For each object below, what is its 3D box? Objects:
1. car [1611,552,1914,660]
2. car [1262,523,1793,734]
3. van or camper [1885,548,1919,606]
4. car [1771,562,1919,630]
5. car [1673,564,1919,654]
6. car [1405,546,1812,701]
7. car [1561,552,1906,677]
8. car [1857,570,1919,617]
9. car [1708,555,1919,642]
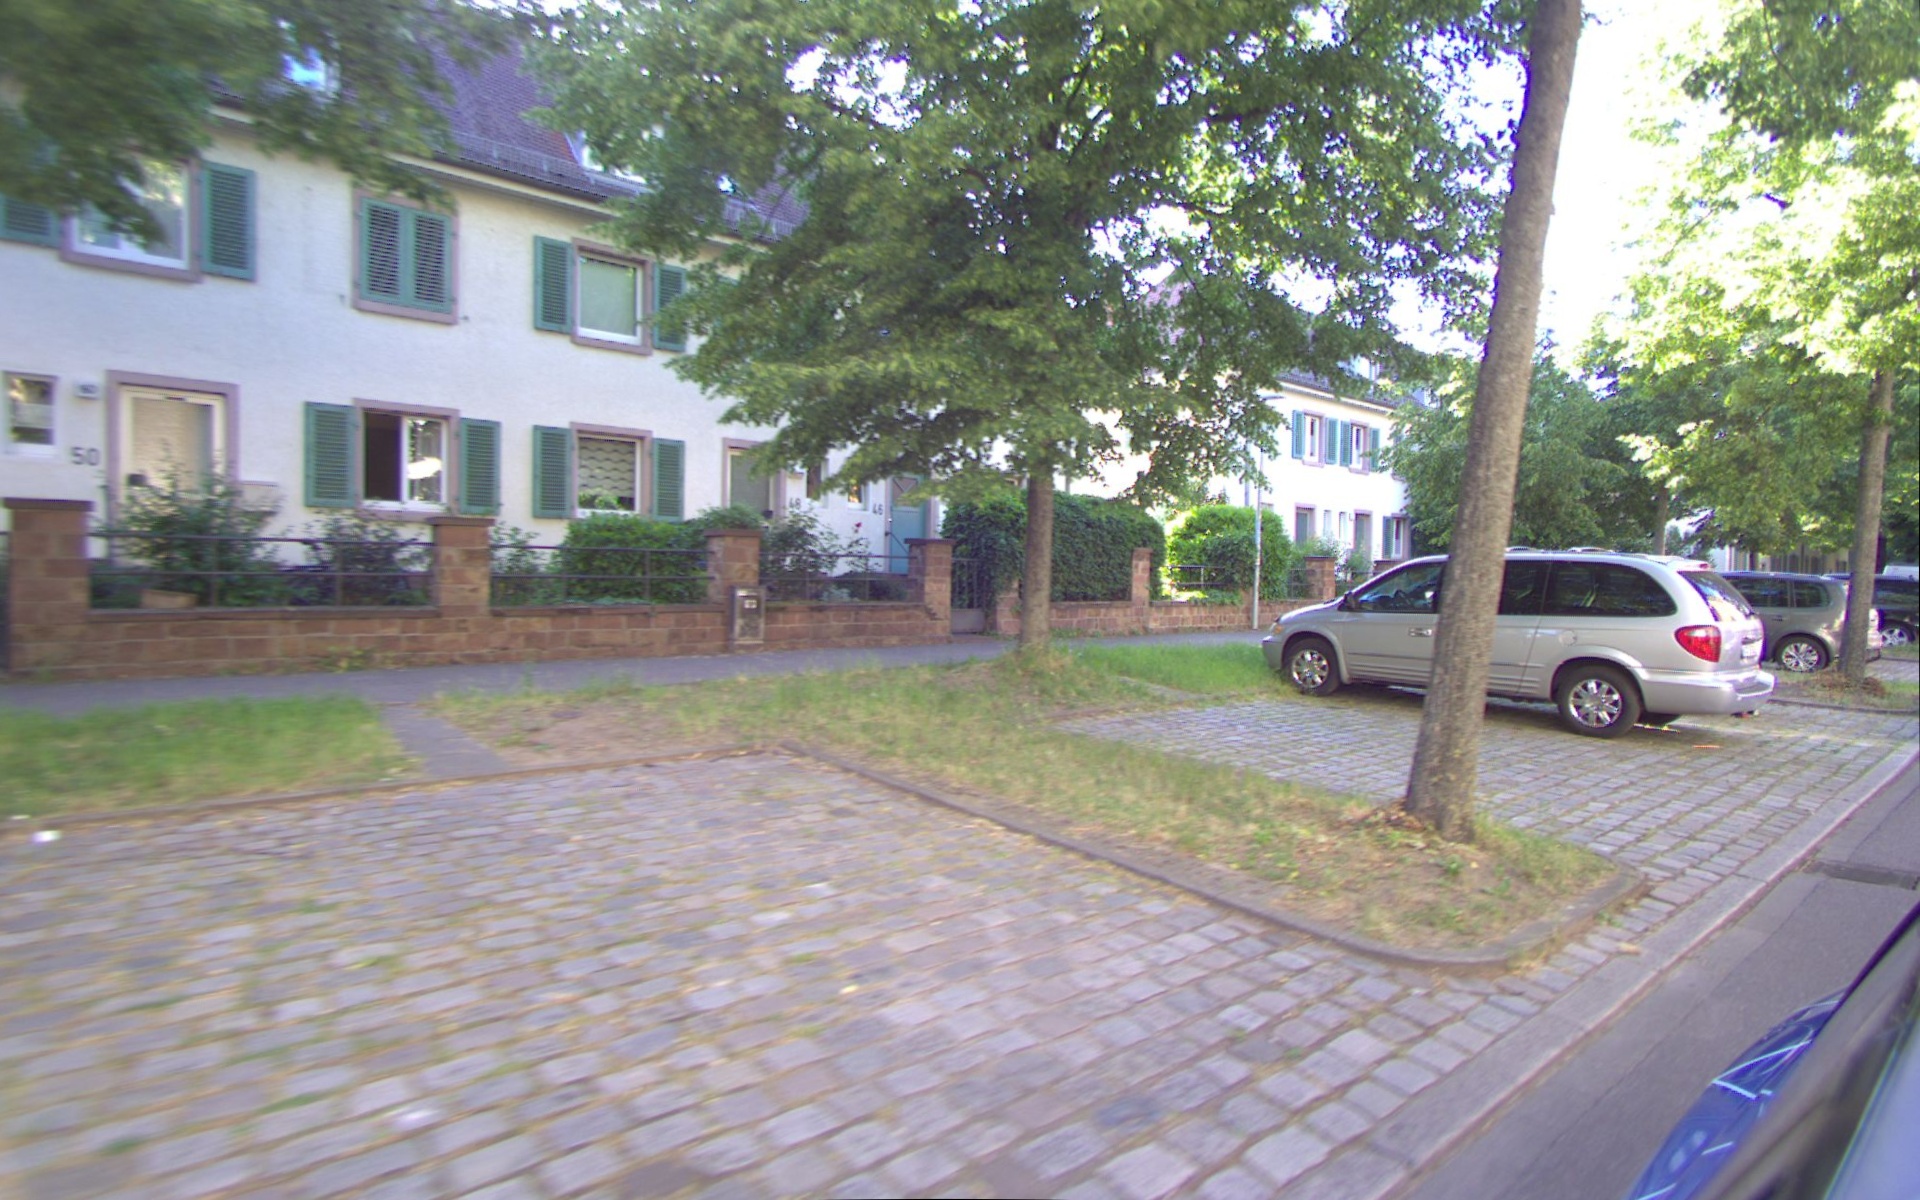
[{"bbox_3d":[15.576,0.029,19.885,1.659,1.652,4.289,0,5,-37],"label":"car"},{"bbox_3d":[5.830,0.105,10.997,1.800,1.730,4.634,0,4,-38],"label":"car"},{"bbox_3d":[45.629,-0.859,45.409,2.124,2.546,5.735,0,6,-40],"label":"van or camper"},{"bbox_3d":[26.585,-0.101,29.296,1.843,1.652,4.487,0,6,-41],"label":"car"},{"bbox_3d":[17.416,0.116,21.166,1.561,1.470,3.732,0,6,-40],"label":"car"},{"bbox_3d":[8.264,0.187,13.234,1.663,1.494,4.080,1,5,-39],"label":"car"},{"bbox_3d":[13.404,0.139,17.754,4.543,1.652,1.784,7,6,44],"label":"car"},{"bbox_3d":[35.806,-0.110,36.559,1.862,1.557,4.848,0,6,-42],"label":"car"},{"bbox_3d":[21.198,-0.082,24.474,1.872,1.697,4.597,0,5,-38],"label":"car"}]
